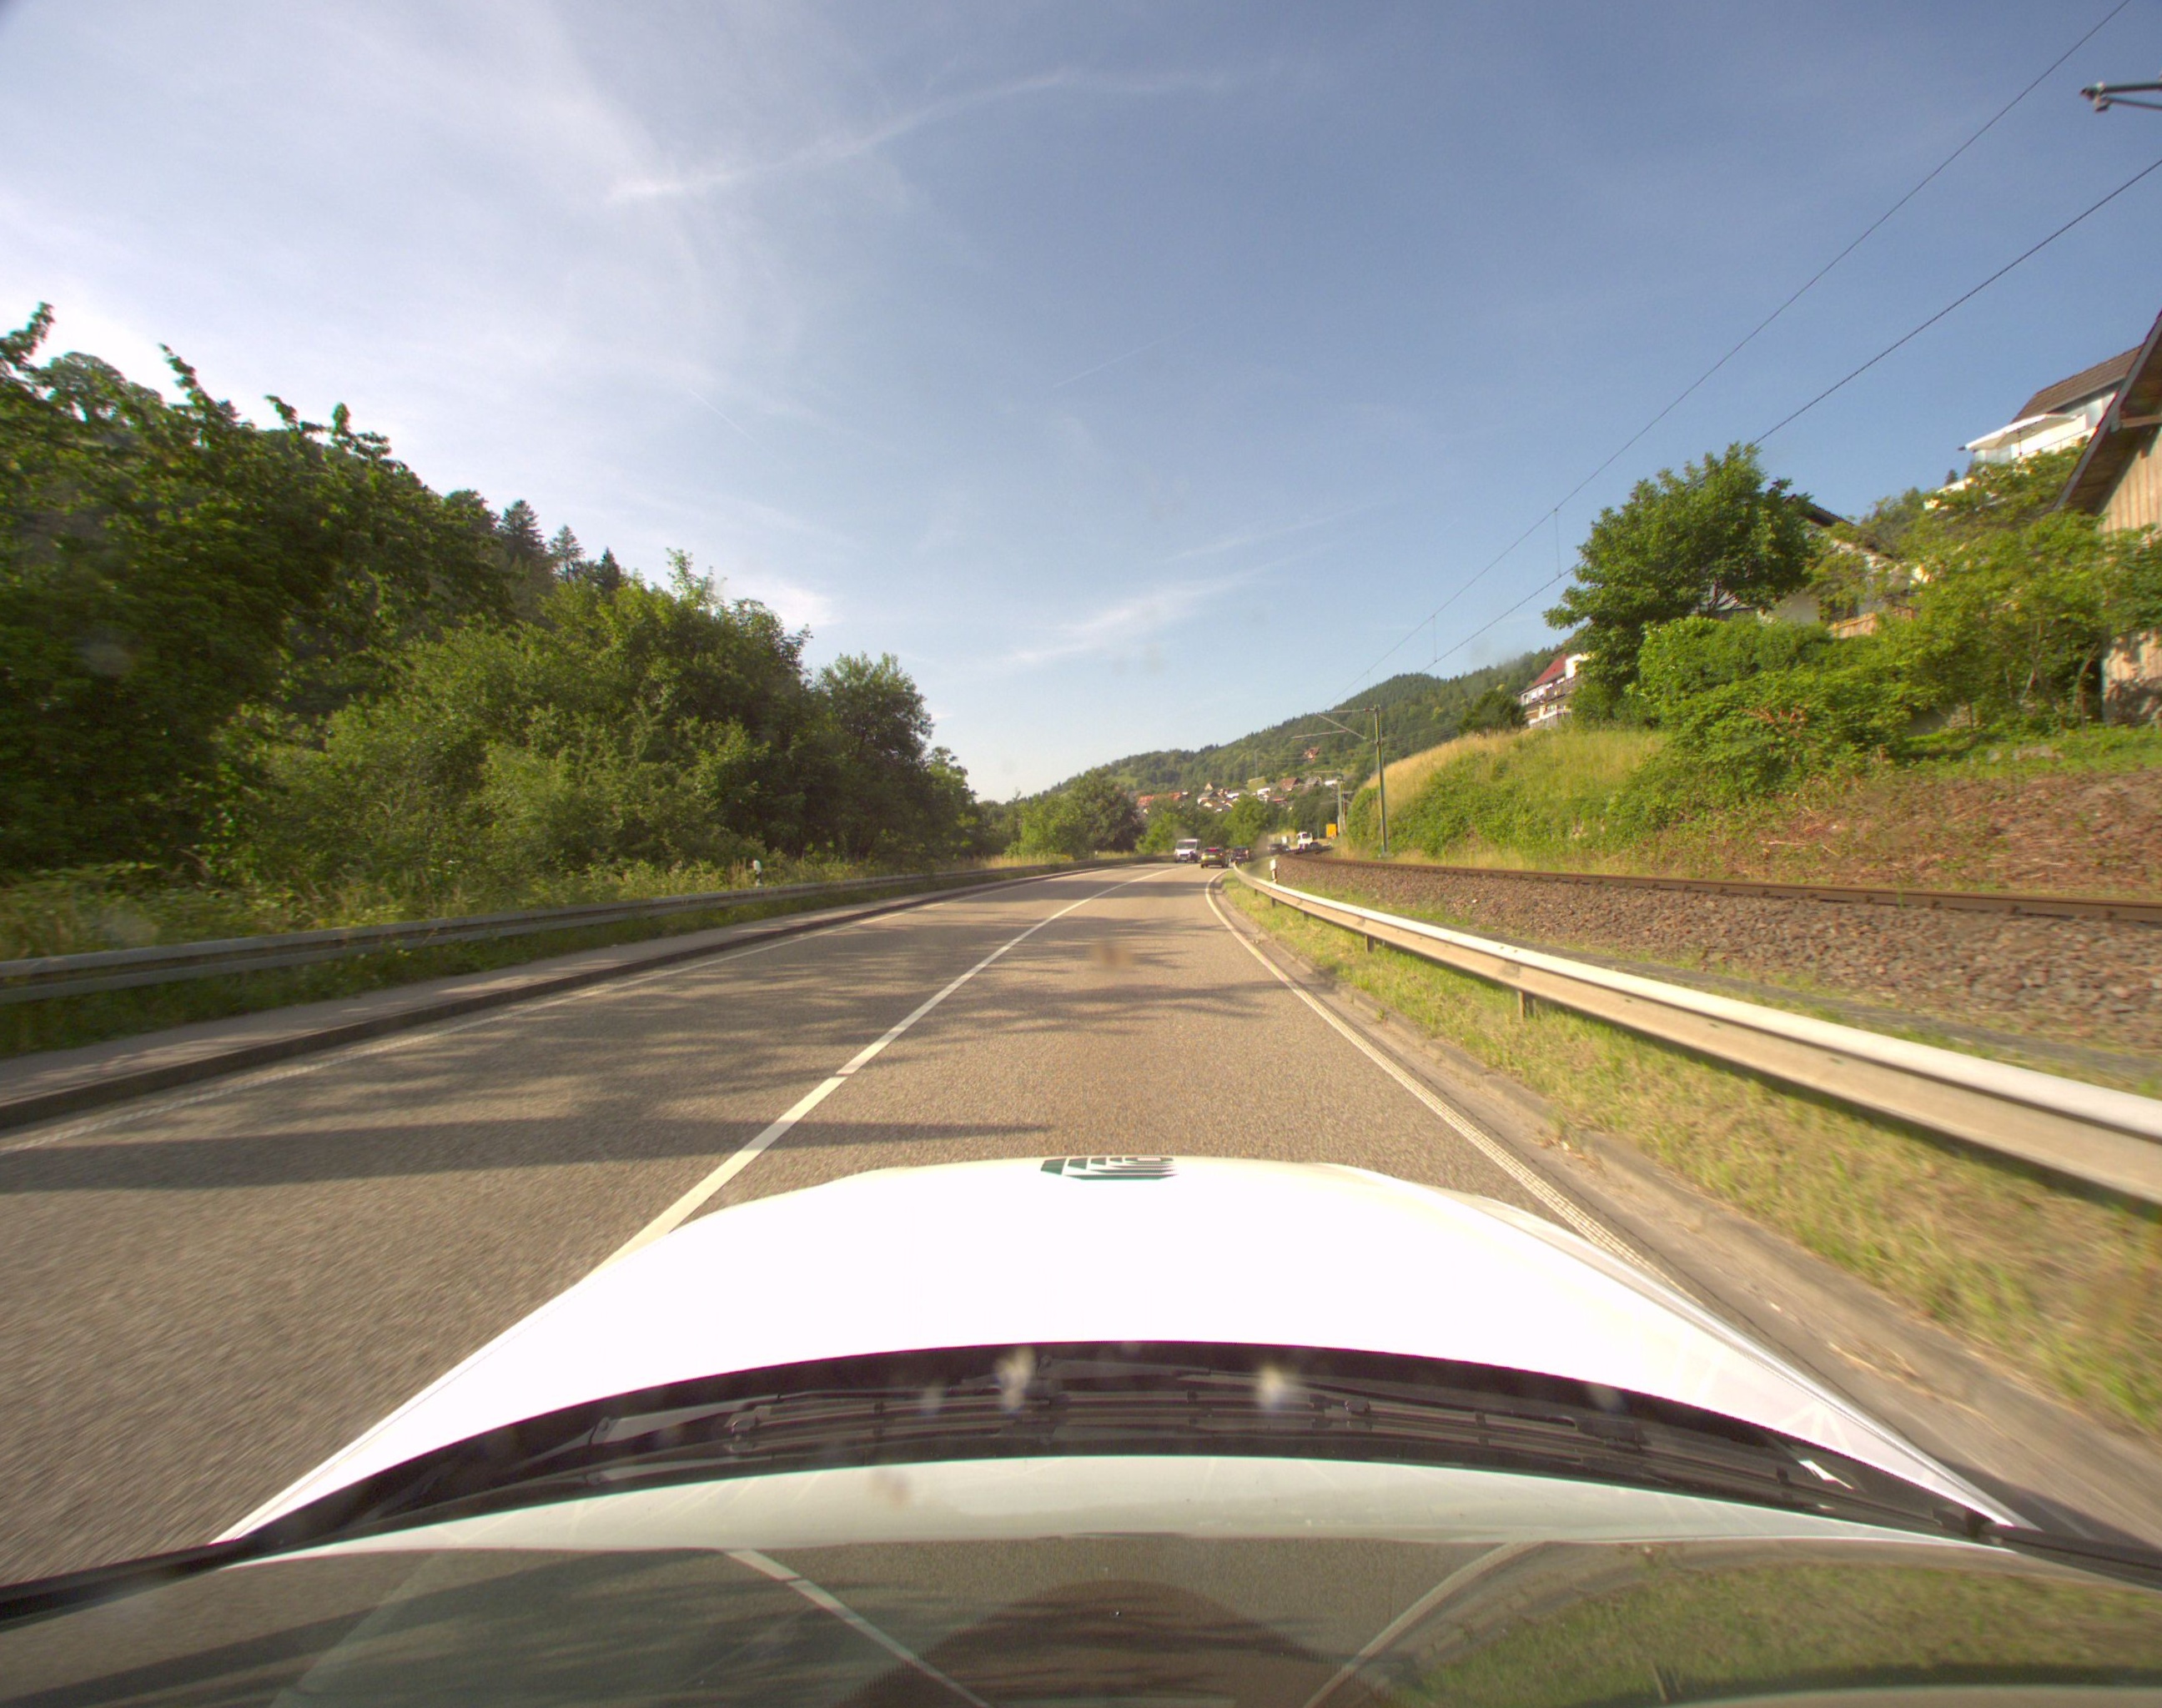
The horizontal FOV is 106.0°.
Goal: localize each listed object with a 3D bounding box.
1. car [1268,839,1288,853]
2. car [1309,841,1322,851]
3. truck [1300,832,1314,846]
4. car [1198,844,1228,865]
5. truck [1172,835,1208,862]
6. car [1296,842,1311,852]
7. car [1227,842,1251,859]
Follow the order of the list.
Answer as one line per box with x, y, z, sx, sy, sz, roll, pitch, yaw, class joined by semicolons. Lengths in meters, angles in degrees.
24.758;-0.963;102.267;1.864;1.686;4.021;-1;0;21;car
44.022;-1.532;152.862;2.045;1.811;4.022;-2;0;22;car
51.504;-3.337;185.697;2.693;3.084;6.129;0;1;12;truck
9.745;0.027;59.832;1.702;1.455;4.017;1;1;16;car
10.229;-0.501;75.867;2.139;2.365;6.778;1;0;18;truck
34.302;-1.137;125.709;1.833;1.527;3.682;-1;0;21;car
14.779;-0.358;76.010;1.653;1.559;4.019;-1;0;19;car
